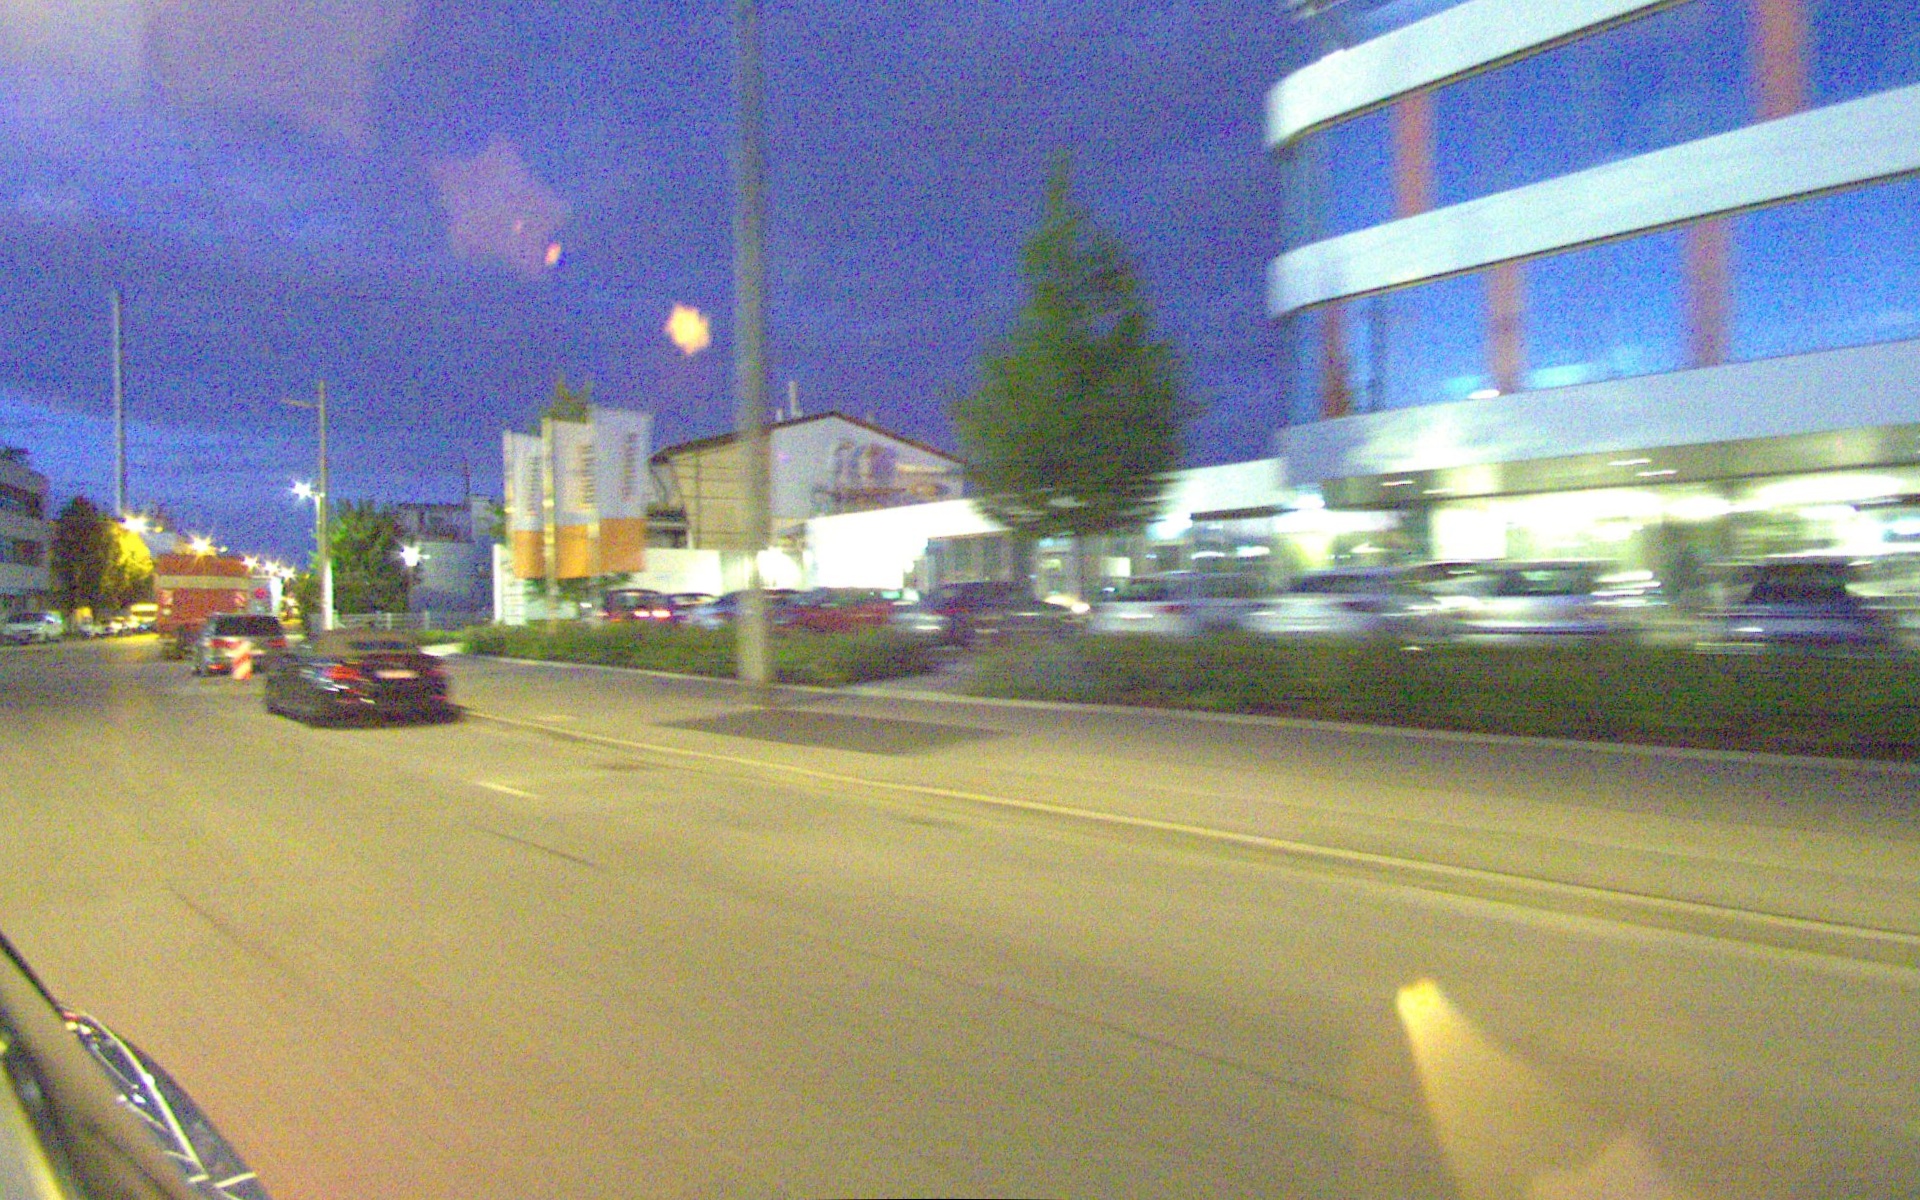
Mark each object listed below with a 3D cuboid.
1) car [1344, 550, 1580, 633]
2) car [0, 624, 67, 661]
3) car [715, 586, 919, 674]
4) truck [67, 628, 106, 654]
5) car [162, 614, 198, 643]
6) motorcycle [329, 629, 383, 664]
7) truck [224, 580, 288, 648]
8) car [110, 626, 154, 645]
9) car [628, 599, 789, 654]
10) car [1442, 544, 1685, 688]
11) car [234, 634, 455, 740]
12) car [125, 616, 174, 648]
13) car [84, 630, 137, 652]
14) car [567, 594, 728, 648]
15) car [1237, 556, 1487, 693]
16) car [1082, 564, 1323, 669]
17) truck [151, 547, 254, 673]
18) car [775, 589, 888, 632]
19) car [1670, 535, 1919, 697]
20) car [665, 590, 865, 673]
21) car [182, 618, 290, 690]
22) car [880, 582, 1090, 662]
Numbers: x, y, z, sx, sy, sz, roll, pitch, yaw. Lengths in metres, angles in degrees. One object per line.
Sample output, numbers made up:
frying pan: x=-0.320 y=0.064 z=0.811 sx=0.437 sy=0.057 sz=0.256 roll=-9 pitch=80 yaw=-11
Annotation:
car: x=10.965 y=-0.152 z=22.283 sx=4.205 sy=1.654 sz=1.971 roll=-2 pitch=0 yaw=45
car: x=-54.038 y=2.430 z=58.950 sx=1.966 sy=2.029 sz=4.927 roll=-1 pitch=-1 yaw=-29
car: x=-3.212 y=0.621 z=23.286 sx=1.963 sy=1.829 sz=4.355 roll=-2 pitch=-1 yaw=44
truck: x=-61.563 y=2.862 z=71.357 sx=1.351 sy=1.657 sz=3.824 roll=-1 pitch=0 yaw=-30
car: x=-76.608 y=2.822 z=99.453 sx=2.099 sy=2.590 sz=5.926 roll=-4 pitch=1 yaw=-32
motorcycle: x=-22.073 y=1.685 z=36.993 sx=0.528 sy=1.109 sz=1.680 roll=-1 pitch=3 yaw=22
truck: x=-45.887 y=0.898 z=66.166 sx=2.708 sy=4.064 sz=9.588 roll=-1 pitch=0 yaw=-31
car: x=-66.620 y=2.856 z=81.508 sx=1.744 sy=1.423 sz=4.565 roll=-1 pitch=-1 yaw=-27
car: x=-7.416 y=0.746 z=30.129 sx=1.828 sy=1.463 sz=4.355 roll=-2 pitch=0 yaw=44
car: x=8.010 y=0.155 z=13.258 sx=1.842 sy=1.591 sz=4.086 roll=-2 pitch=0 yaw=44
car: x=-9.495 y=1.208 z=15.454 sx=4.361 sy=1.382 sz=1.794 roll=-2 pitch=-2 yaw=43
car: x=-69.922 y=2.693 z=87.409 sx=1.966 sy=2.544 sz=5.928 roll=-4 pitch=1 yaw=-27
car: x=-63.377 y=3.010 z=75.571 sx=1.919 sy=1.500 sz=5.026 roll=-1 pitch=-1 yaw=-27
car: x=-9.578 y=0.604 z=31.215 sx=1.893 sy=1.493 sz=4.355 roll=-2 pitch=0 yaw=44
car: x=5.984 y=0.278 z=14.781 sx=1.962 sy=1.693 sz=4.357 roll=-2 pitch=0 yaw=42
car: x=4.067 y=0.208 z=16.500 sx=1.851 sy=1.490 sz=4.355 roll=-2 pitch=0 yaw=44
truck: x=-28.150 y=0.390 z=37.758 sx=2.736 sy=4.151 sz=9.363 roll=-1 pitch=-1 yaw=-36
car: x=-4.907 y=0.400 z=38.111 sx=1.880 sy=1.468 sz=4.468 roll=-3 pitch=1 yaw=-44
car: x=9.708 y=0.114 z=11.266 sx=4.396 sy=1.463 sz=2.063 roll=-2 pitch=0 yaw=-43
car: x=-4.754 y=0.717 z=25.131 sx=1.963 sy=1.829 sz=4.556 roll=-2 pitch=0 yaw=44
car: x=-18.440 y=1.312 z=25.694 sx=1.843 sy=1.605 sz=4.501 roll=-1 pitch=0 yaw=-40
car: x=0.598 y=0.387 z=20.361 sx=1.828 sy=1.404 sz=4.219 roll=-2 pitch=0 yaw=44
